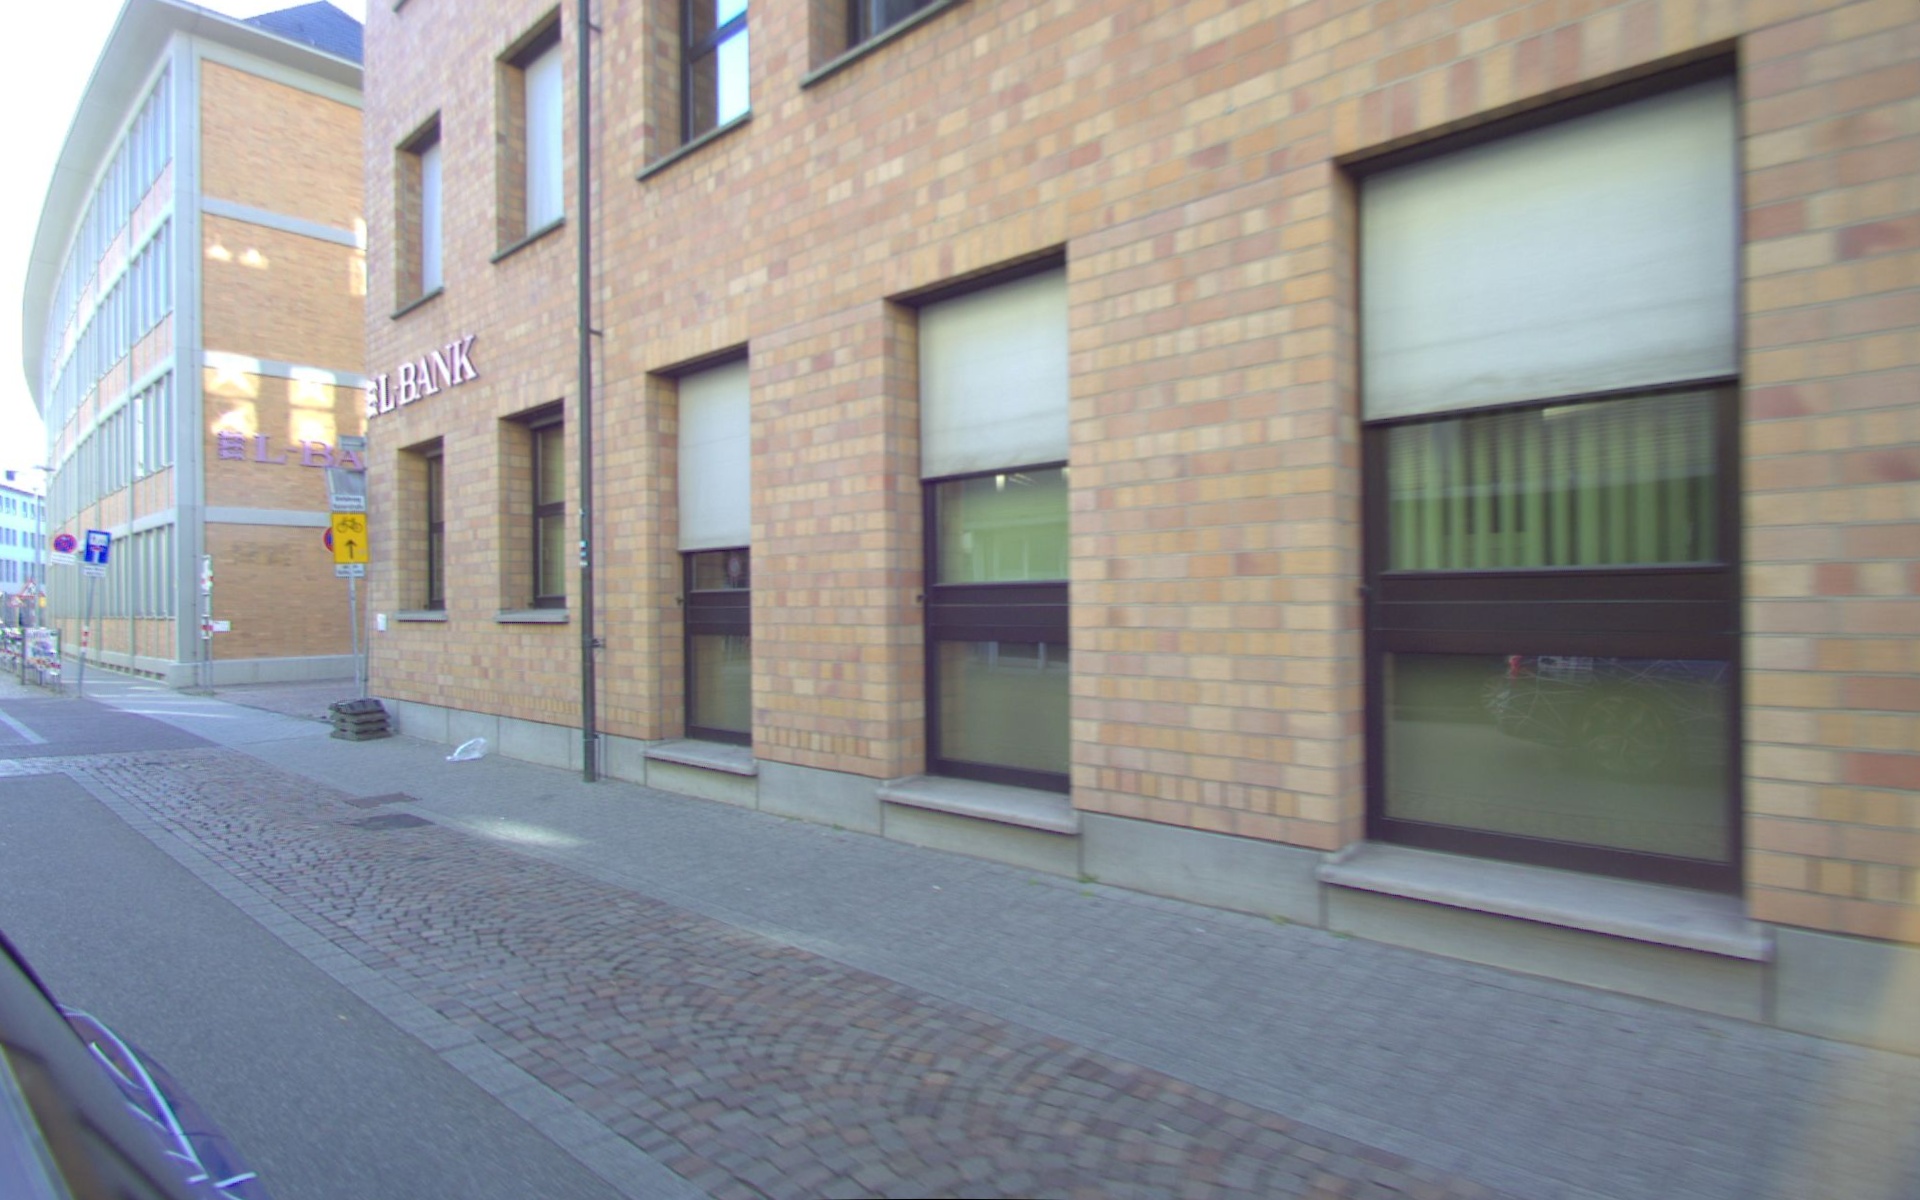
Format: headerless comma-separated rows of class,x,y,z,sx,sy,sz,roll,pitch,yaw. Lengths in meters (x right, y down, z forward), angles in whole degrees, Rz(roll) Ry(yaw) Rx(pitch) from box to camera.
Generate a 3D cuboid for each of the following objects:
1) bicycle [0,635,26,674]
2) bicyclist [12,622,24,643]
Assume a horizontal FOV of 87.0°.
bicycle,-27.190,1.527,28.765,1.819,1.062,0.620,-1,-1,36
bicyclist,-71.562,2.446,76.881,0.572,1.586,0.693,-1,-1,-41
